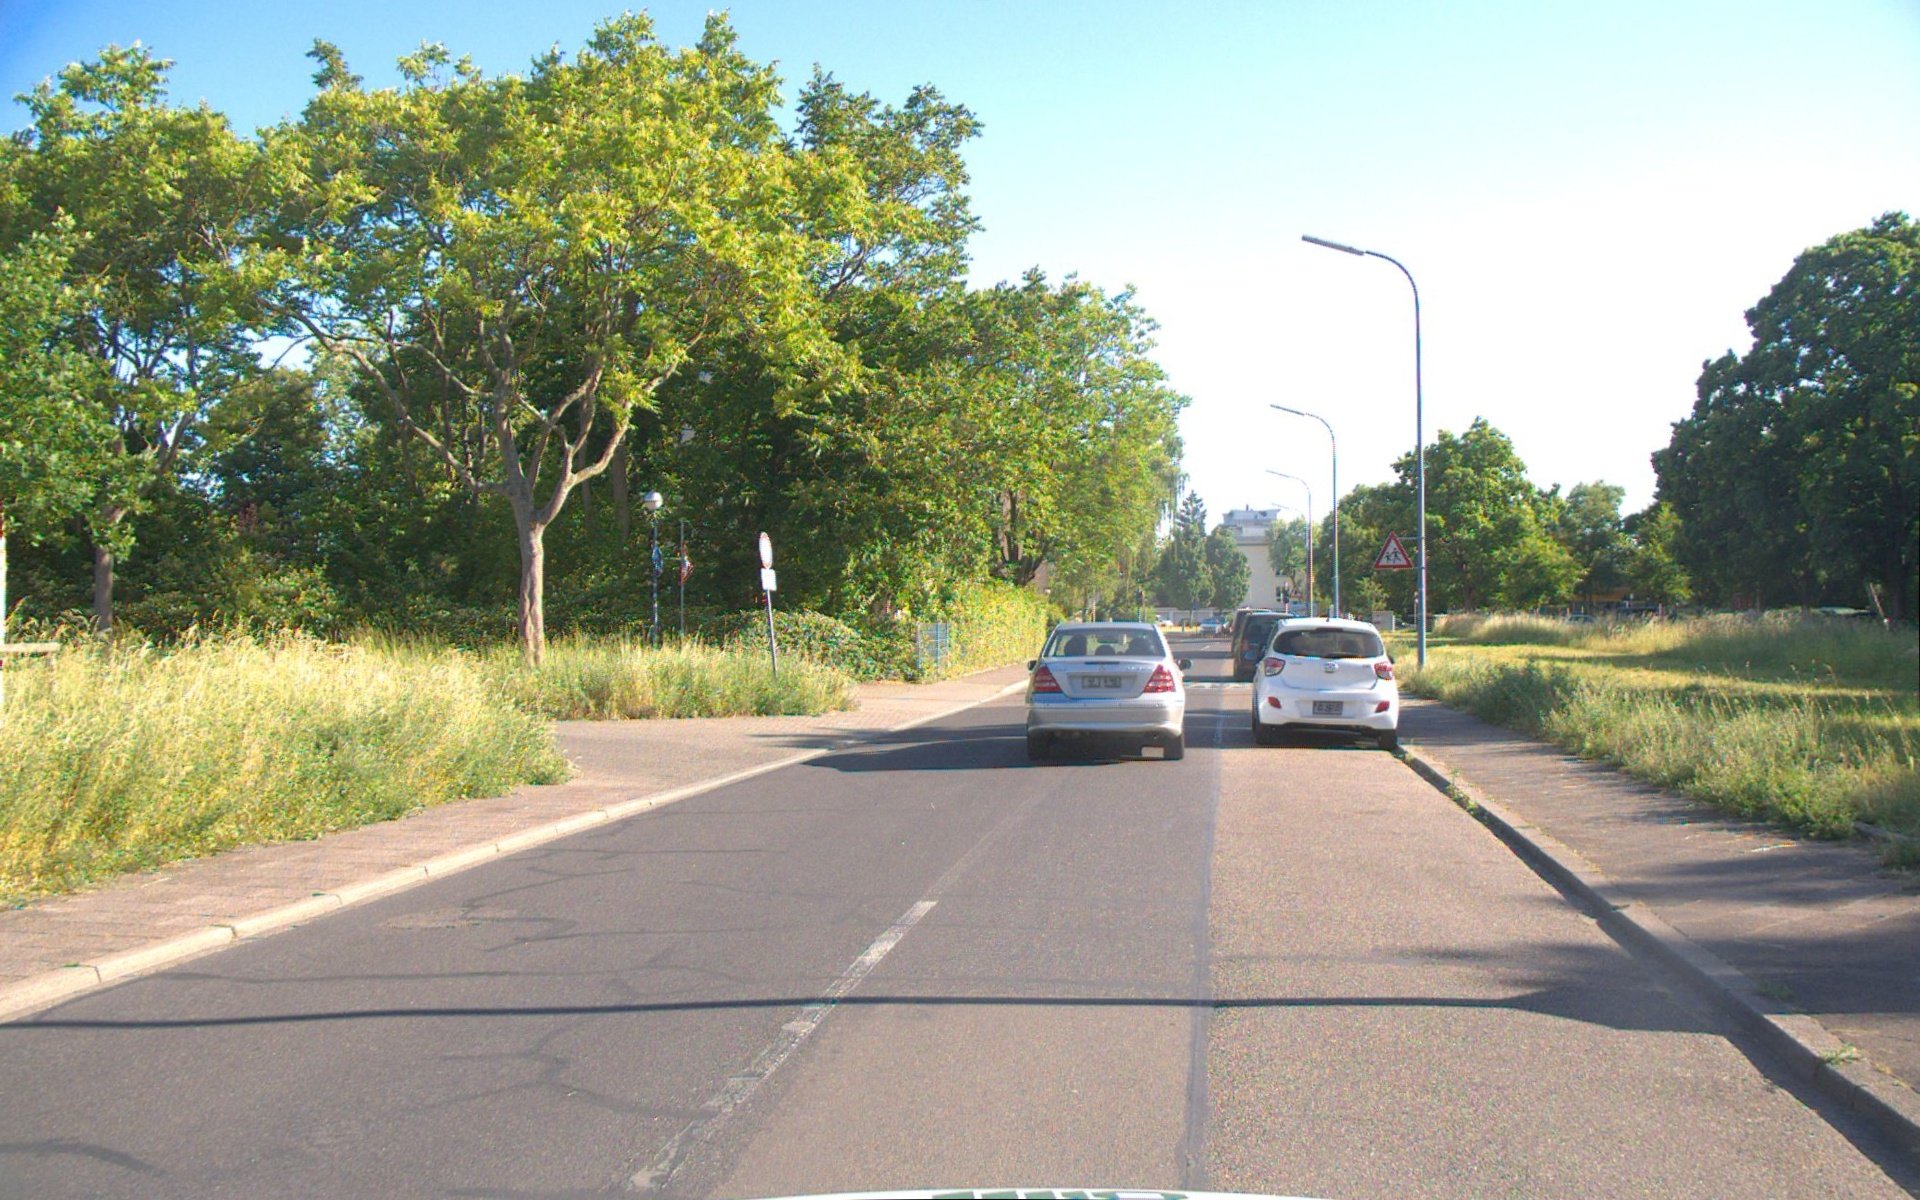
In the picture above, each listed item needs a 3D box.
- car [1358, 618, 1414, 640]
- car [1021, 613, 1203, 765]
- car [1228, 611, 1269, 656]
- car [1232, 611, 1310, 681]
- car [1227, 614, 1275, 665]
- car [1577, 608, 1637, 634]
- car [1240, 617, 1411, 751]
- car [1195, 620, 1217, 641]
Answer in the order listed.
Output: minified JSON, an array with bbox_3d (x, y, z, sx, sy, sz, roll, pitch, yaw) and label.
[{"bbox_3d":[30.178,2.081,117.179,3.629,1.467,1.698,-2,-3,25],"label":"car"},{"bbox_3d":[1.742,0.936,18.575,1.777,1.489,4.363,-1,-1,6],"label":"car"},{"bbox_3d":[12.700,1.440,72.878,1.662,1.884,3.853,1,0,9],"label":"car"},{"bbox_3d":[7.636,1.097,40.891,1.662,1.639,4.003,-1,0,8],"label":"car"},{"bbox_3d":[10.977,1.461,62.519,1.662,1.790,3.853,1,0,9],"label":"car"},{"bbox_3d":[43.399,1.408,110.925,3.629,1.646,1.698,-2,-3,25],"label":"car"},{"bbox_3d":[4.514,0.991,20.874,1.685,1.505,3.743,1,-1,6],"label":"car"},{"bbox_3d":[21.903,2.701,147.186,1.844,1.758,4.002,-1,-3,9],"label":"car"}]
